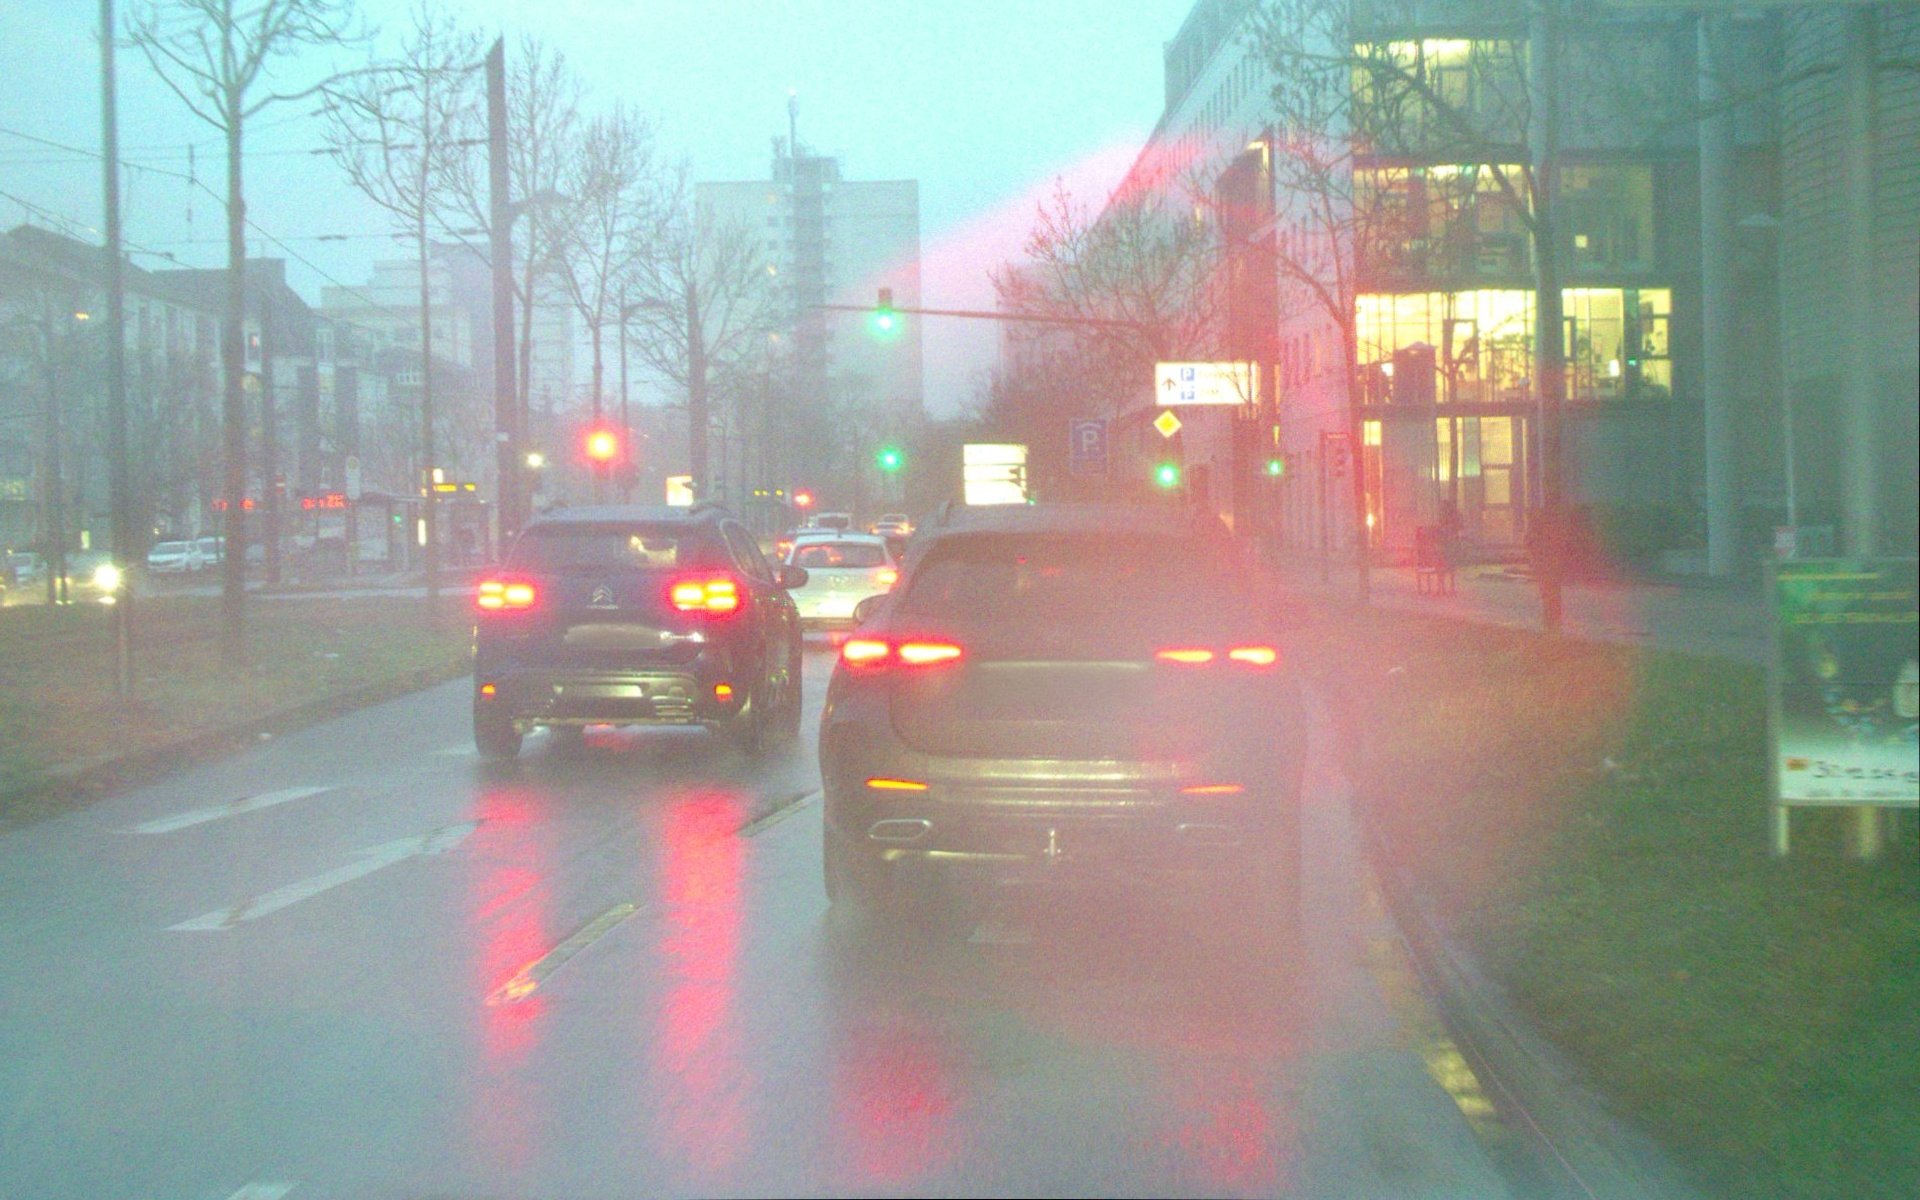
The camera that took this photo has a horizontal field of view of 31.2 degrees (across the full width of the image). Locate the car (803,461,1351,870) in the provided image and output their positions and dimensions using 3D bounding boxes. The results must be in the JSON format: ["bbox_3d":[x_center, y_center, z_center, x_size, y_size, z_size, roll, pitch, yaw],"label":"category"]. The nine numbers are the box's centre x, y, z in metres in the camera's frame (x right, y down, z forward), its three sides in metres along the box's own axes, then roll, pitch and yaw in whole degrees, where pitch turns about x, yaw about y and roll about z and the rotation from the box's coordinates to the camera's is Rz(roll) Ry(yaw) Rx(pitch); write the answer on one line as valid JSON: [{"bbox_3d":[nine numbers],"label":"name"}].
[{"bbox_3d":[0.387,0.211,14.490,1.993,1.478,3.700,1,1,-1],"label":"car"}]

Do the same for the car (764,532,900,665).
[{"bbox_3d":[-1.647,-0.052,44.959,1.689,1.629,3.474,1,1,-1],"label":"car"}]

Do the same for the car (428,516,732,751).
[{"bbox_3d":[-2.496,0.165,23.397,1.817,1.445,4.001,1,1,-3],"label":"car"}]

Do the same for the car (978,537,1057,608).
[{"bbox_3d":[1.252,-0.623,75.845,1.623,1.493,3.526,1,1,-1],"label":"car"}]

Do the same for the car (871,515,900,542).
[{"bbox_3d":[-4.241,-4.070,196.076,1.548,1.503,3.387,1,1,0],"label":"car"}]

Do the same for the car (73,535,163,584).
[{"bbox_3d":[-27.341,-1.326,111.765,1.880,1.497,4.791,1,1,-2],"label":"car"}]

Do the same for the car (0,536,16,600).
[{"bbox_3d":[-25.287,-0.823,87.448,1.613,1.617,3.509,1,1,-1],"label":"car"}]

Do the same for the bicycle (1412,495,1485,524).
[{"bbox_3d":[12.653,-2.341,89.036,1.731,0.743,0.650,2,1,33],"label":"bicycle"}]

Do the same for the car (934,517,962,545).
[{"bbox_3d":[-0.686,-3.862,191.699,1.548,1.503,3.470,1,1,0],"label":"car"}]

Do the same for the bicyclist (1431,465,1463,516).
[{"bbox_3d":[12.627,-2.840,89.062,0.622,1.325,0.564,2,1,32],"label":"bicyclist"}]

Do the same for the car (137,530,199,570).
[{"bbox_3d":[-32.833,-2.092,142.599,1.932,1.591,3.728,1,1,-4],"label":"car"}]
